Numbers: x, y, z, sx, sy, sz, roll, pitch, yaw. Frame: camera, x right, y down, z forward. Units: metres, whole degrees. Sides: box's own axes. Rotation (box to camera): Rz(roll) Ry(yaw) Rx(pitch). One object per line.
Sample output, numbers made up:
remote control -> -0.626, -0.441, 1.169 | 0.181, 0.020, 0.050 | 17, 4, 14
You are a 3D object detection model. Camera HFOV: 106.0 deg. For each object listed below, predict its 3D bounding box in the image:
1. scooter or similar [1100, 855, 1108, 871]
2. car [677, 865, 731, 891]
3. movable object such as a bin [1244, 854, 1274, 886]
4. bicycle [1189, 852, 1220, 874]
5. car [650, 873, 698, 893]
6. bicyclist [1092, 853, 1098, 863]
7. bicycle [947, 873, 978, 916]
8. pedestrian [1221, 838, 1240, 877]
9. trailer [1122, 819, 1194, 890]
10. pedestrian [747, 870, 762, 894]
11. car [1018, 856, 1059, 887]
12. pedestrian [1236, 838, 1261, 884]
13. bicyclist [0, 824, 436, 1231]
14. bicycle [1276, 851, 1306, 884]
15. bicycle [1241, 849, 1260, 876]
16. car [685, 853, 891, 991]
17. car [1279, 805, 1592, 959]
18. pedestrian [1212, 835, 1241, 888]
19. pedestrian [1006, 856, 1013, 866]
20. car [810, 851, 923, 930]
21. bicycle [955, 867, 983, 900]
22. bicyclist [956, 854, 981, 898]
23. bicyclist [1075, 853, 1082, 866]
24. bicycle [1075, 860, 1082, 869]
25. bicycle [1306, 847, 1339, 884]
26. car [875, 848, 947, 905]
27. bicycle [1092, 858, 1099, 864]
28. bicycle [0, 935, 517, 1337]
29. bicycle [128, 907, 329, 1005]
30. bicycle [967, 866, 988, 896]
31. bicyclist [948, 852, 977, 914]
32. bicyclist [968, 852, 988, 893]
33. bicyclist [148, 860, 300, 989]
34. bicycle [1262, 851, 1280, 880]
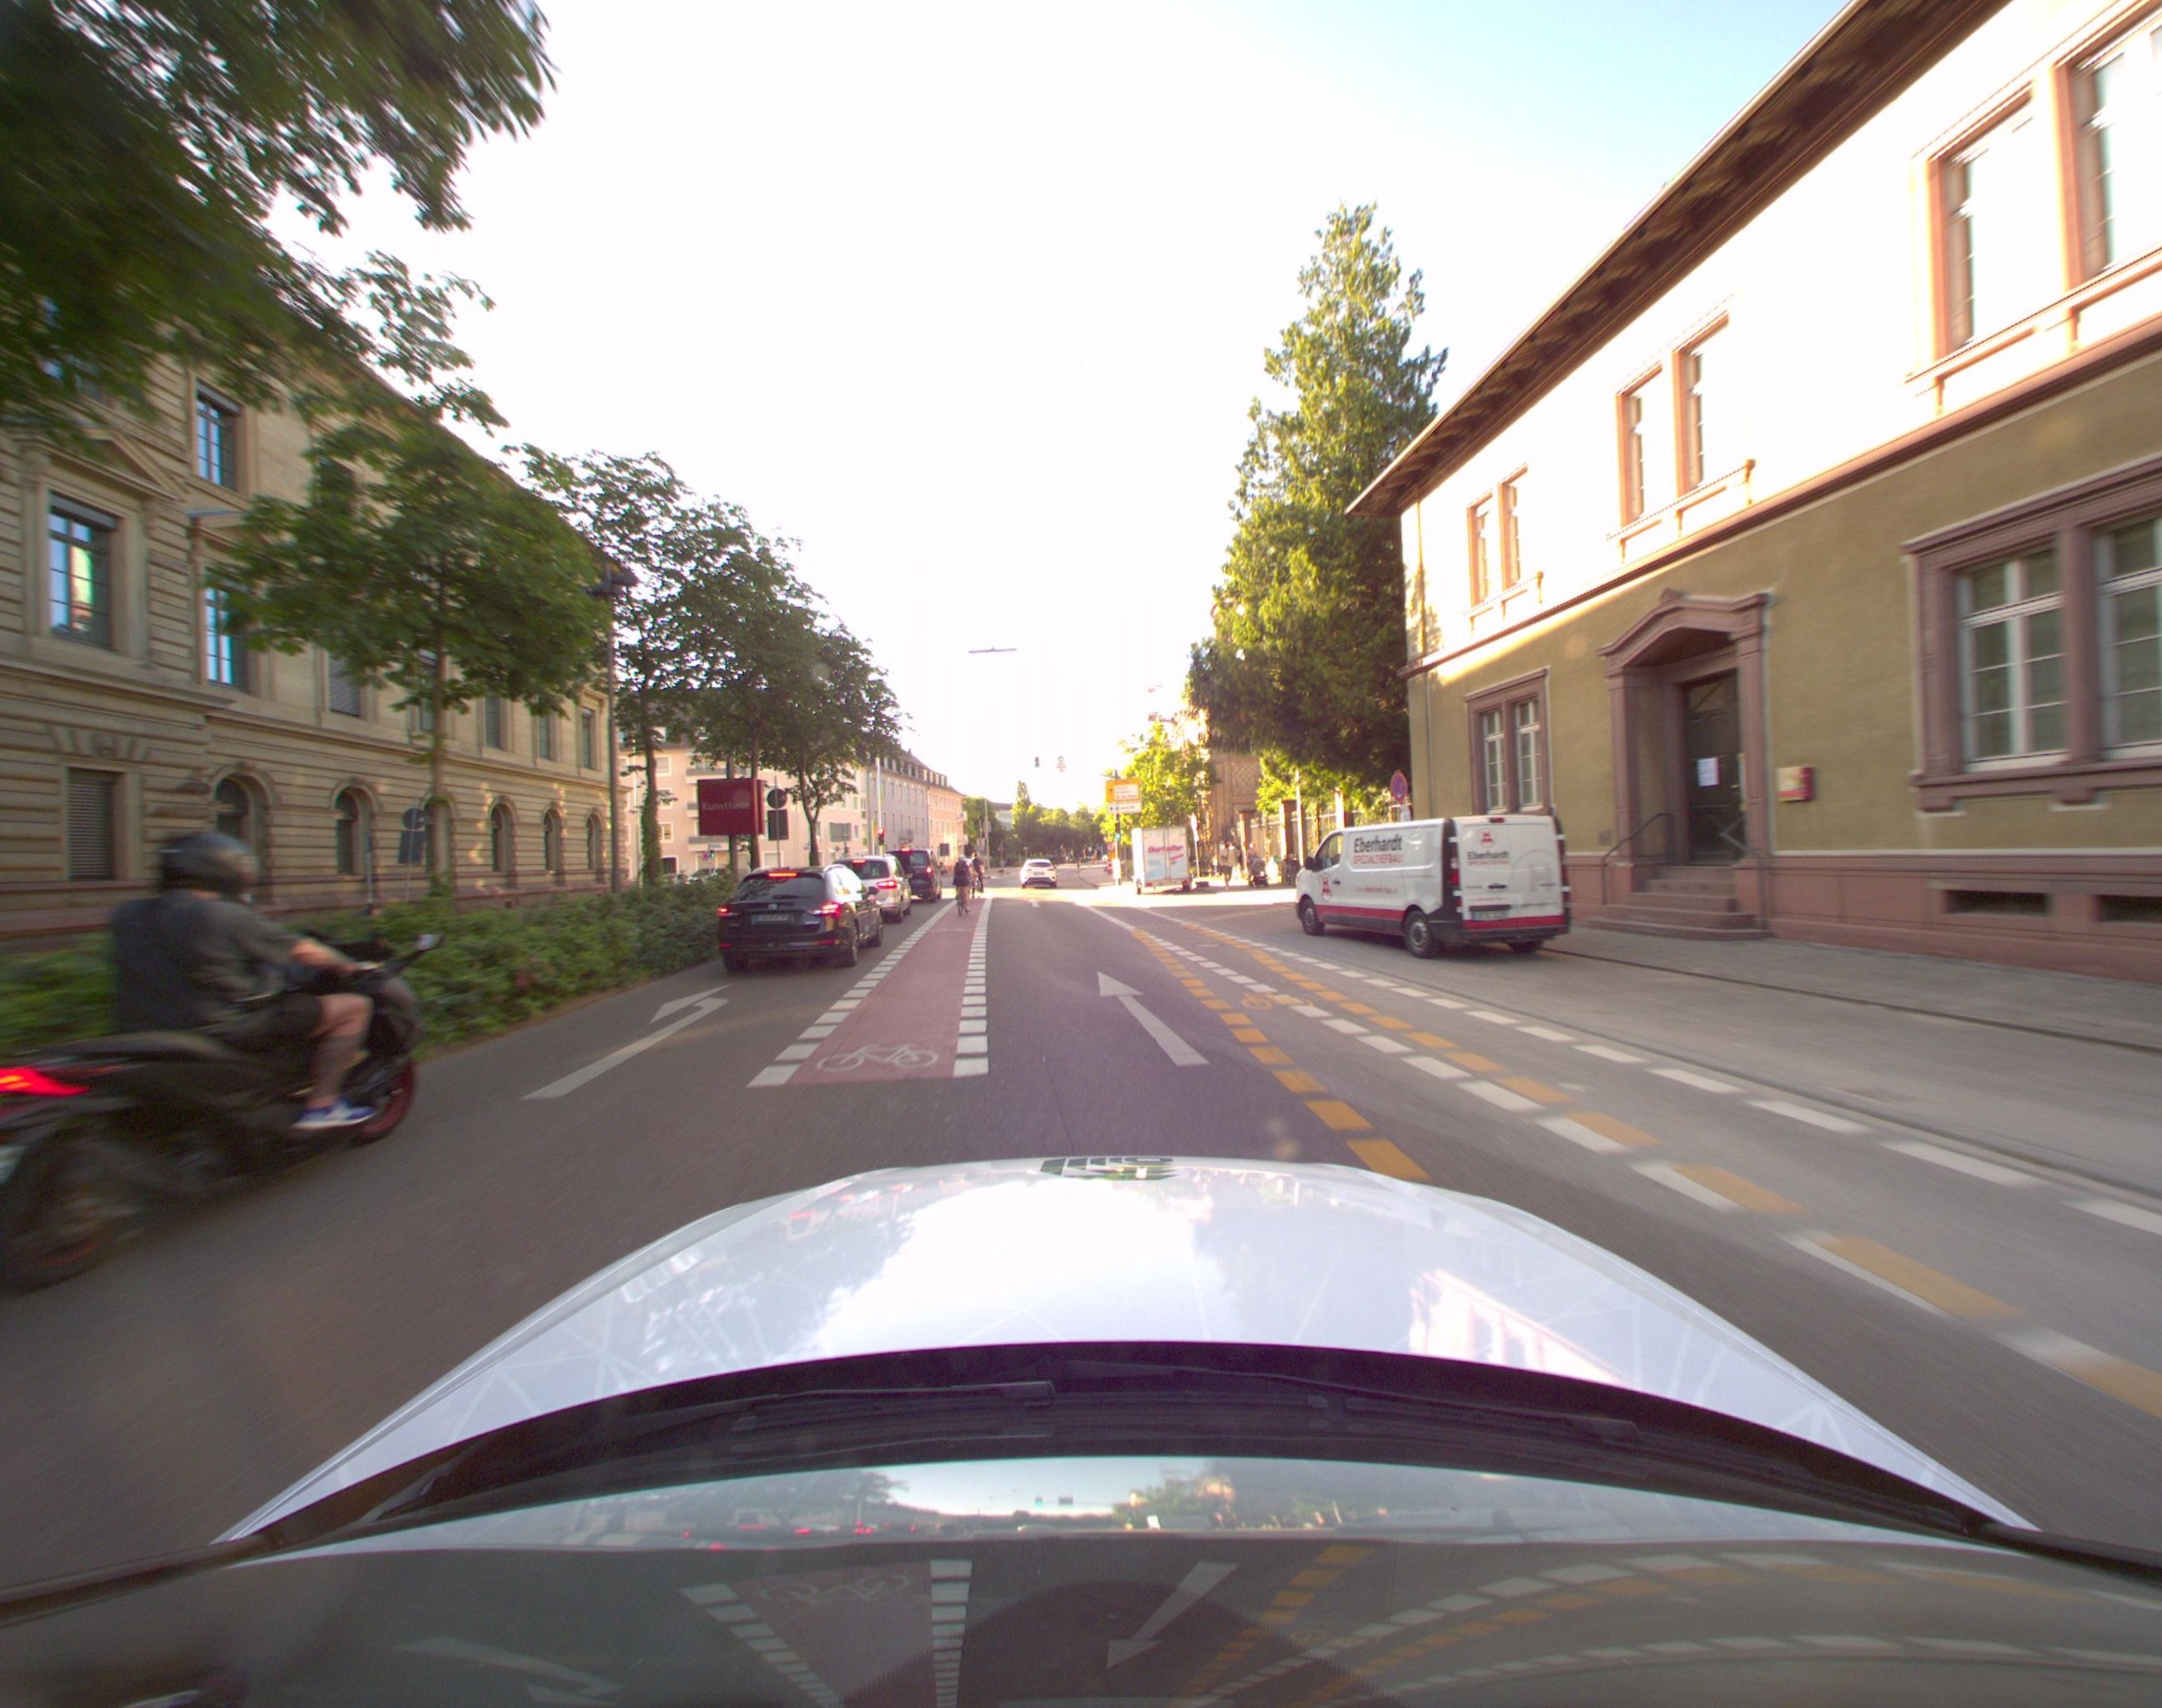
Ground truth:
scooter or similar -> 2.030, 0.805, 72.226 | 0.553, 1.308, 1.833 | -3, 0, 3
car -> -28.509, 1.779, 61.709 | 1.988, 1.686, 4.611 | -3, 0, -2
movable object such as a bin -> 6.576, 0.577, 30.183 | 0.710, 1.117, 1.048 | -5, 1, -7
bicycle -> 6.286, 0.444, 41.561 | 1.463, 1.039, 0.478 | -3, 0, -5
car -> -30.762, 2.150, 61.641 | 1.601, 1.310, 3.998 | -3, 0, -1
bicyclist -> 2.206, 0.571, 126.614 | 0.742, 1.537, 0.972 | -2, 0, 11
bicycle -> -3.262, 1.098, 22.538 | 0.667, 1.072, 1.750 | -2, 0, -4
pedestrian -> 6.831, 0.153, 37.298 | 0.637, 1.768, 0.737 | -3, 0, -2
trailer -> 3.013, 0.012, 32.864 | 2.075, 2.528, 4.486 | -4, 0, -4
pedestrian -> -21.826, 1.886, 54.446 | 0.629, 1.583, 0.819 | 0, 0, 3
car -> -2.279, 0.900, 43.062 | 1.990, 1.453, 3.993 | -3, 0, -5
pedestrian -> 6.407, 0.272, 31.128 | 0.681, 1.701, 0.692 | -4, 0, -6
bicyclist -> -3.835, 0.653, 3.703 | 0.866, 1.523, 1.229 | -1, 0, -5
bicycle -> 7.590, 0.464, 29.474 | 0.394, 1.130, 1.925 | -3, 0, -5
bicycle -> 7.359, 0.343, 35.387 | 0.397, 1.105, 1.680 | -4, 0, 0
car -> -4.287, 0.876, 12.800 | 1.992, 1.657, 4.724 | -3, 0, -7
car -> 5.310, 0.380, 13.312 | 2.014, 1.945, 5.463 | -1, -1, -10
pedestrian -> 5.443, 0.274, 30.441 | 0.714, 1.894, 0.887 | -4, 0, -7
pedestrian -> -13.133, 1.241, 149.118 | 0.850, 1.851, 1.004 | -3, 0, 9
car -> -5.456, 0.852, 21.380 | 1.988, 1.749, 4.739 | -3, 0, -5
bicycle -> -4.219, 1.097, 30.816 | 0.826, 1.143, 1.968 | -2, 0, -2
bicyclist -> -4.238, 0.818, 30.728 | 0.801, 1.608, 0.824 | -3, 0, -3
bicyclist -> -0.313, 0.694, 99.210 | 0.633, 1.614, 1.285 | -2, 0, 4
bicycle -> -0.313, 1.256, 99.085 | 0.640, 1.024, 2.215 | -1, 0, 4
bicycle -> 8.060, 0.369, 27.242 | 0.417, 1.156, 1.825 | -5, 0, -2
car -> -6.454, 0.822, 31.496 | 2.065, 1.915, 5.023 | -3, 0, -6
bicycle -> 2.230, 1.099, 126.567 | 0.748, 1.026, 1.875 | -2, -1, 11
bicycle -> -3.836, 1.026, 3.785 | 0.869, 1.042, 2.449 | -1, 0, -5
bicycle -> -13.279, 1.542, 12.811 | 0.879, 1.194, 2.171 | -6, 0, -5
bicycle -> -4.196, 1.078, 33.149 | 0.640, 1.155, 2.075 | -2, 0, -2
bicyclist -> -3.273, 0.796, 22.589 | 0.671, 1.652, 0.886 | -2, 0, -5
bicyclist -> -4.197, 0.736, 33.177 | 0.668, 1.608, 0.824 | -3, 0, -3
bicyclist -> -13.328, 1.046, 12.728 | 0.879, 1.834, 1.283 | -6, 0, -5
bicycle -> 7.609, 0.448, 32.627 | 0.273, 1.105, 1.532 | -4, 0, 0
